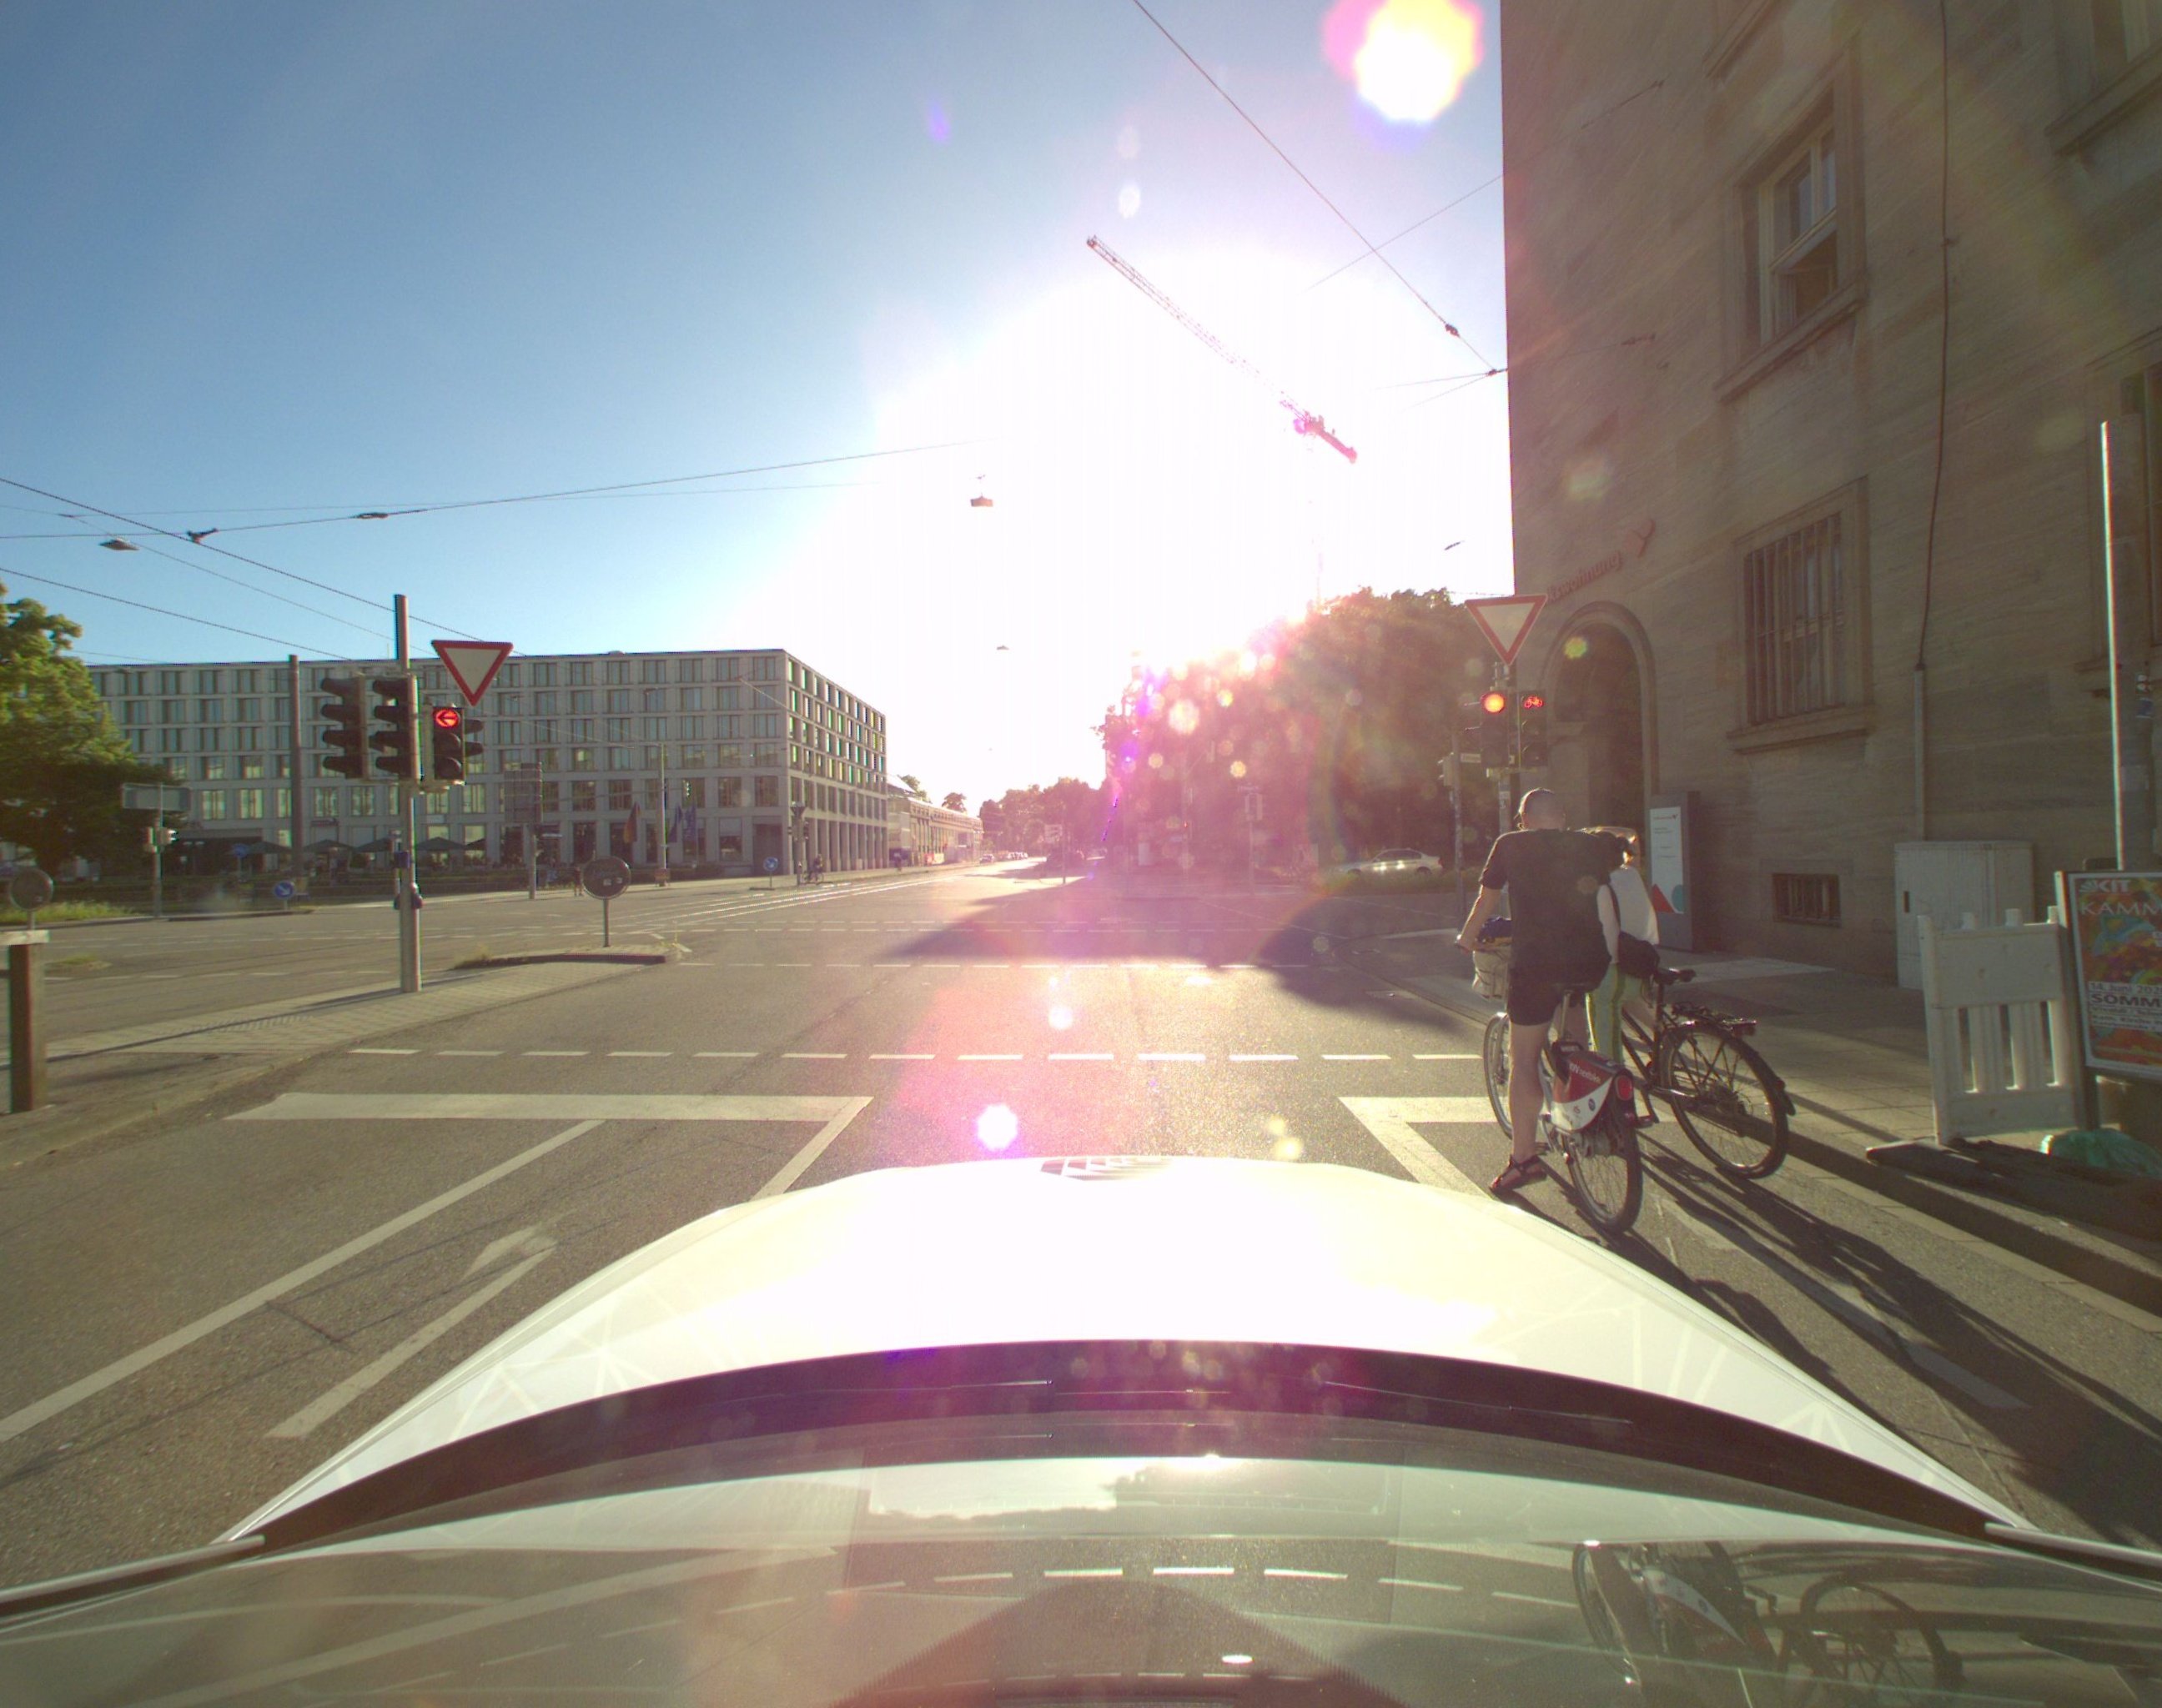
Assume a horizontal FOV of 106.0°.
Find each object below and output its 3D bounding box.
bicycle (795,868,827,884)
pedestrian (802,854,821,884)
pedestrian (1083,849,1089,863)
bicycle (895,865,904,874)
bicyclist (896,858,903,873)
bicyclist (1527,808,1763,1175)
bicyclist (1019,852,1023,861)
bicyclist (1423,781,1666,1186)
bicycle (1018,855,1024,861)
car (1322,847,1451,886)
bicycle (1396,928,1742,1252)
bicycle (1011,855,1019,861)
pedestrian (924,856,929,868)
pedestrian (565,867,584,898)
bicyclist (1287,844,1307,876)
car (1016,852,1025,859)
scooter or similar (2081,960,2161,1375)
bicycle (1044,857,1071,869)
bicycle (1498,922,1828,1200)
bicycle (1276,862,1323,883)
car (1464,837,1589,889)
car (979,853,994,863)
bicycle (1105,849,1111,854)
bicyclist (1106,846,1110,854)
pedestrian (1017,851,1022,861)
[{"bbox_3d":[-14.679,1.186,44.304,1.697,0.823,0.577,-2,0,24],"label":"bicycle"},{"bbox_3d":[-14.673,0.795,44.297,0.735,1.595,0.577,-2,0,24],"label":"pedestrian"},{"bbox_3d":[0.566,0.211,97.779,0.576,1.689,0.584,-2,0,-6],"label":"pedestrian"},{"bbox_3d":[-18.346,1.569,82.353,0.492,0.839,1.158,-2,0,4],"label":"bicycle"},{"bbox_3d":[-18.361,1.118,82.349,0.492,1.498,0.667,-2,0,4],"label":"bicyclist"},{"bbox_3d":[2.953,0.655,4.364,0.581,1.738,0.951,-2,0,2],"label":"bicyclist"},{"bbox_3d":[-12.186,0.521,165.267,0.748,1.920,1.214,0,-1,1],"label":"bicyclist"},{"bbox_3d":[2.175,0.551,3.942,0.621,1.715,0.913,-2,0,1],"label":"bicyclist"},{"bbox_3d":[-12.180,0.888,165.383,0.748,1.205,3.108,0,-1,1],"label":"bicycle"},{"bbox_3d":[12.435,0.506,33.408,4.559,1.516,2.001,0,-1,1],"label":"car"},{"bbox_3d":[2.182,0.972,3.952,0.621,1.044,1.747,-2,0,1],"label":"bicycle"},{"bbox_3d":[-12.926,0.785,159.515,0.746,1.205,3.114,0,-1,7],"label":"bicycle"},{"bbox_3d":[-23.827,1.284,125.660,0.585,1.889,0.478,0,-1,1],"label":"pedestrian"},{"bbox_3d":[-28.269,1.576,45.485,0.599,1.681,0.609,-2,0,19],"label":"pedestrian"},{"bbox_3d":[9.619,0.268,36.291,0.742,1.406,0.704,-1,-1,8],"label":"bicyclist"},{"bbox_3d":[-14.441,0.326,195.321,1.988,1.644,3.998,-2,0,-1],"label":"car"},{"bbox_3d":[3.324,0.884,1.826,0.571,1.150,1.272,-1,-1,0],"label":"scooter or similar"},{"bbox_3d":[-1.957,0.752,67.431,2.240,0.940,0.653,-2,0,-4],"label":"bicycle"},{"bbox_3d":[2.963,0.971,4.398,0.579,1.044,1.748,-2,0,3],"label":"bicycle"},{"bbox_3d":[9.712,0.831,36.278,1.932,0.889,0.719,-1,-1,8],"label":"bicycle"},{"bbox_3d":[17.881,0.353,32.850,3.970,2.014,2.002,0,-1,3],"label":"car"},{"bbox_3d":[-15.812,0.684,136.356,1.988,1.599,3.999,-2,0,-1],"label":"car"},{"bbox_3d":[6.591,-0.618,200.732,0.890,1.219,2.784,0,-1,-9],"label":"bicycle"},{"bbox_3d":[6.596,-1.018,200.661,0.891,2.014,0.746,0,-1,-10],"label":"bicyclist"},{"bbox_3d":[-12.083,0.367,159.526,0.746,2.063,1.052,0,-1,7],"label":"pedestrian"}]
